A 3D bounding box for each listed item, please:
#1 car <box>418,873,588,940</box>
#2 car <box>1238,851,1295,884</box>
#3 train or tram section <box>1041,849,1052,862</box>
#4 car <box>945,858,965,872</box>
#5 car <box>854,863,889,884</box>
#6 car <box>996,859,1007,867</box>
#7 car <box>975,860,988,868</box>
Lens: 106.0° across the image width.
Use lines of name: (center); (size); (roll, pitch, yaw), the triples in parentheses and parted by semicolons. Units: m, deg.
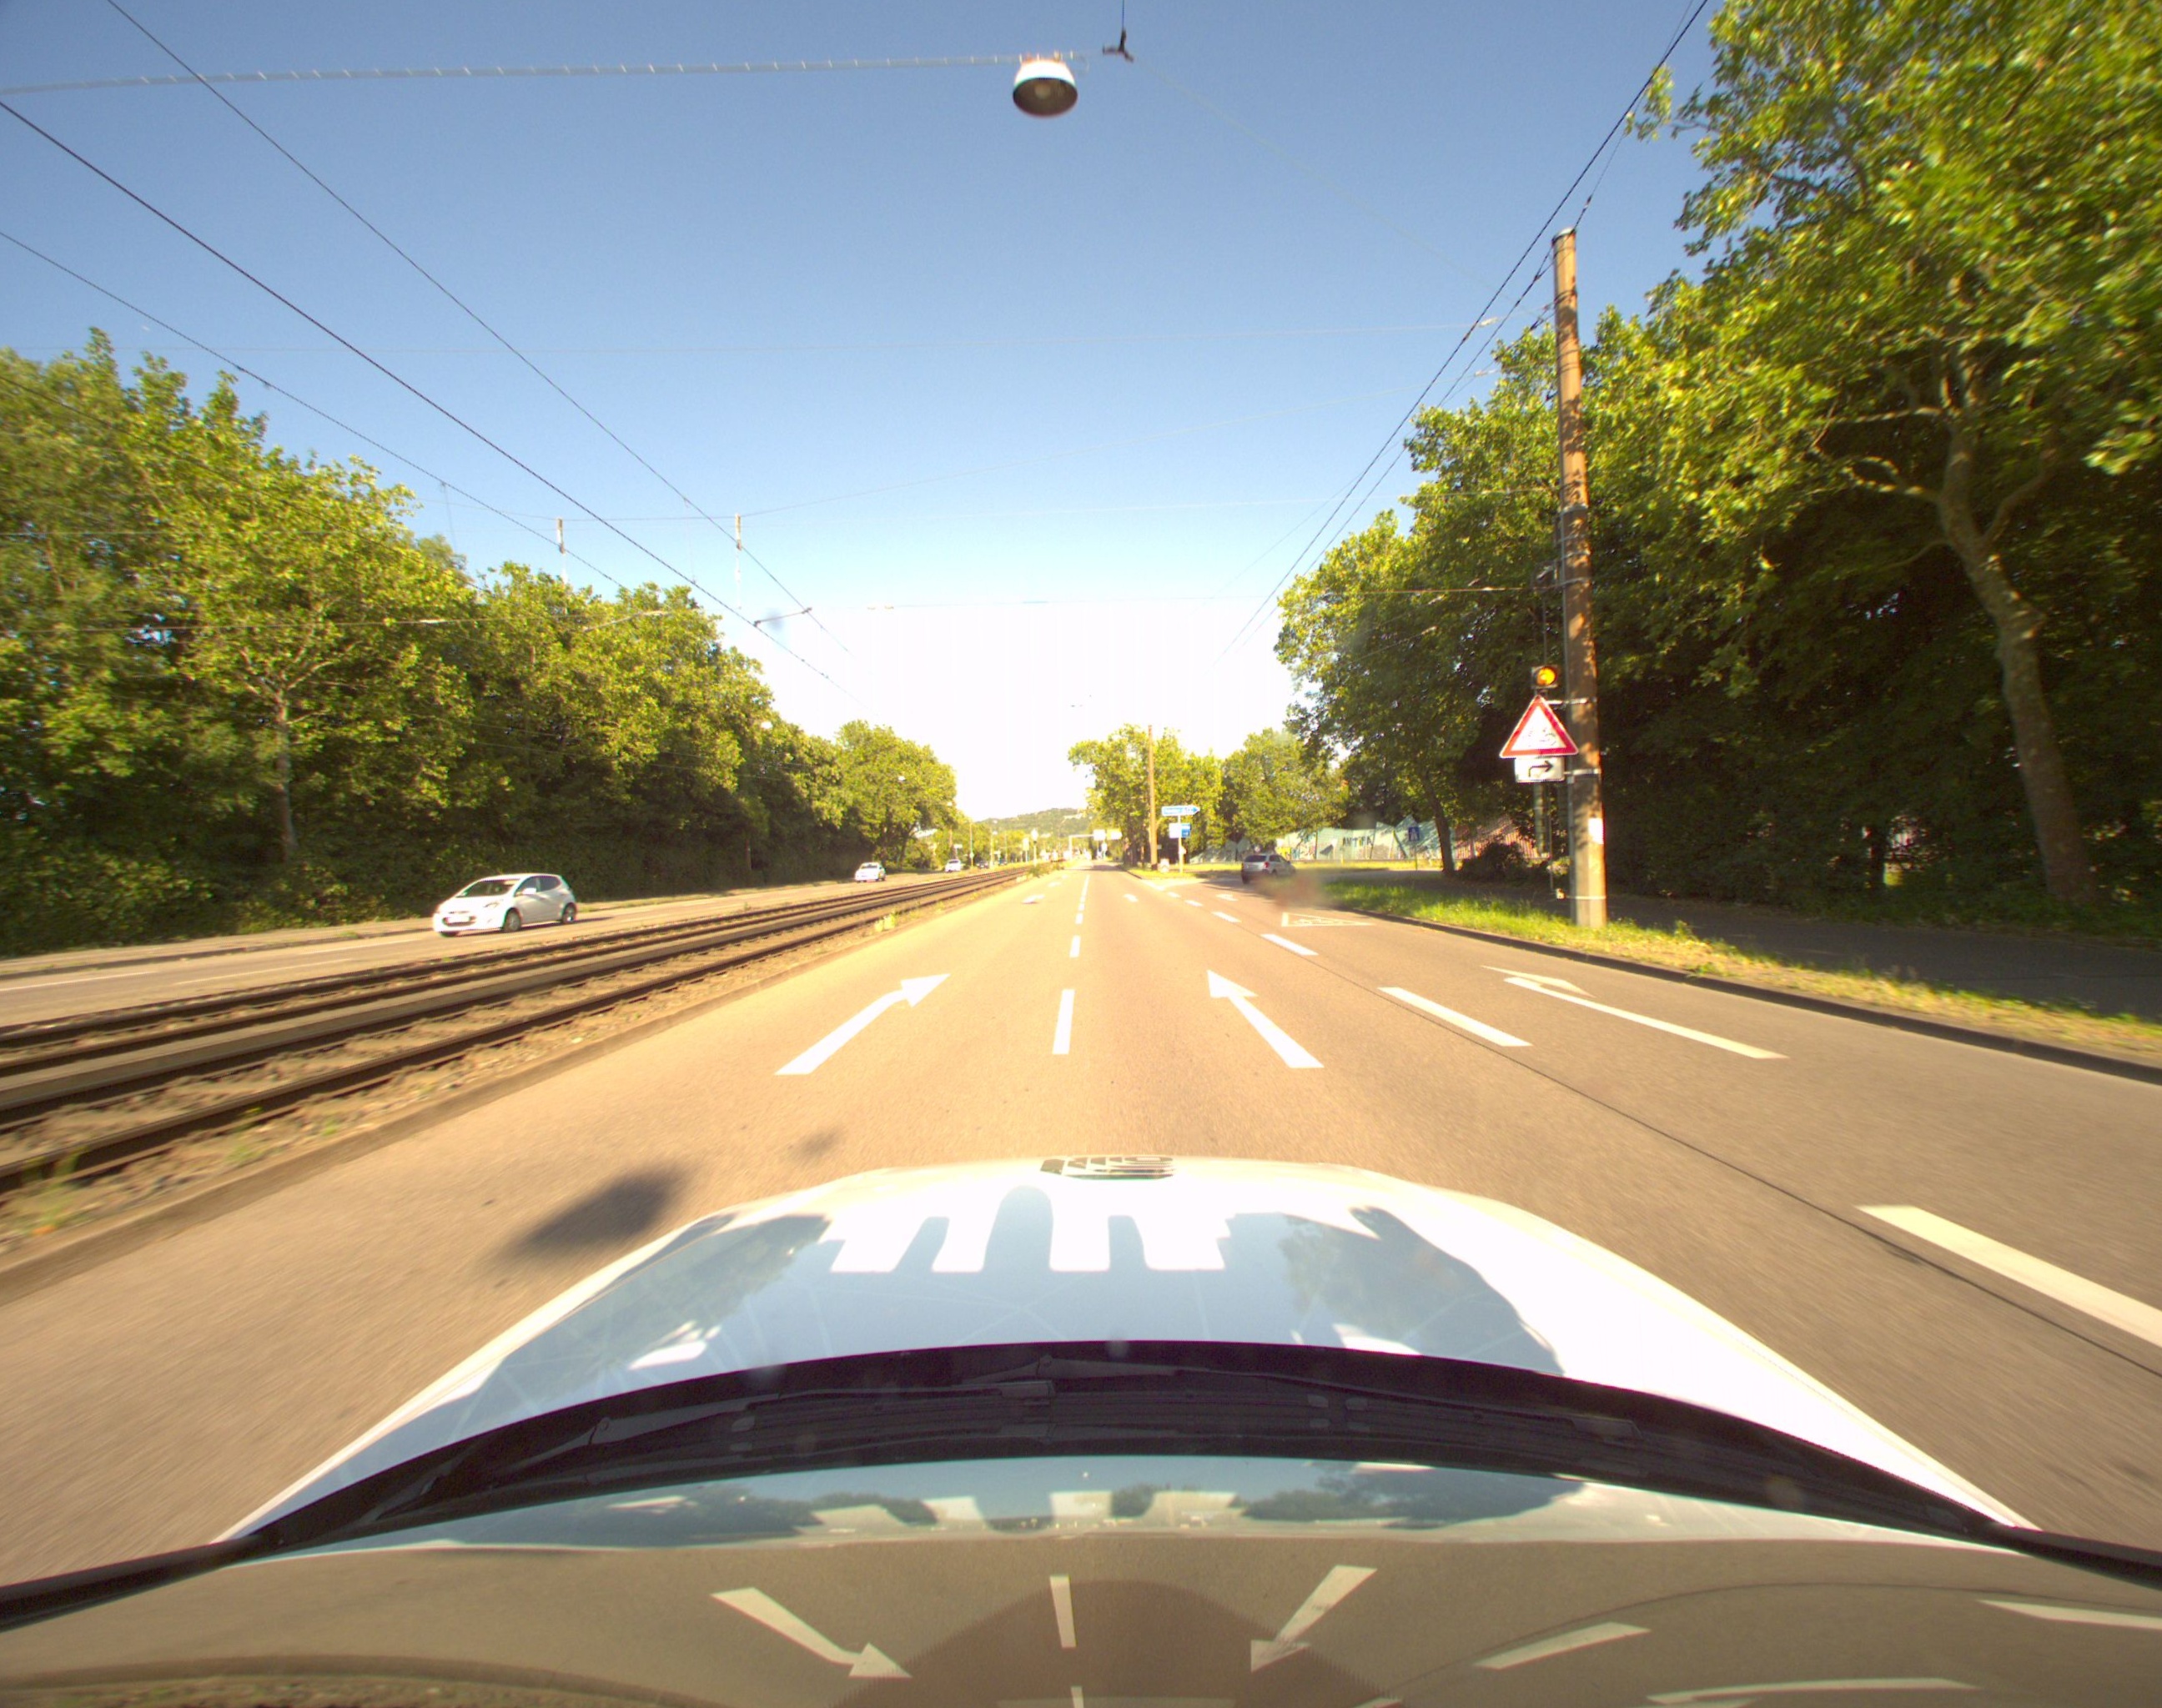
car: (-16.127, 1.388, 23.029); (1.685, 1.556, 4.191); (-4, -1, 1)
car: (10.431, 0.714, 45.619); (1.791, 1.773, 3.887); (-1, -1, 34)
train or tram section: (-10.891, 0.598, 256.416); (2.795, 3.903, 12.328); (-1, -1, 0)
car: (-17.047, 1.479, 110.392); (1.957, 1.707, 4.940); (-4, -1, -2)
car: (-18.417, 1.688, 71.794); (1.842, 1.734, 4.927); (-4, -1, -3)
car: (-17.821, 1.982, 182.434); (1.893, 1.694, 4.938); (-3, 0, -1)
car: (-17.857, 1.785, 146.592); (1.706, 1.468, 4.345); (-4, 0, -1)
